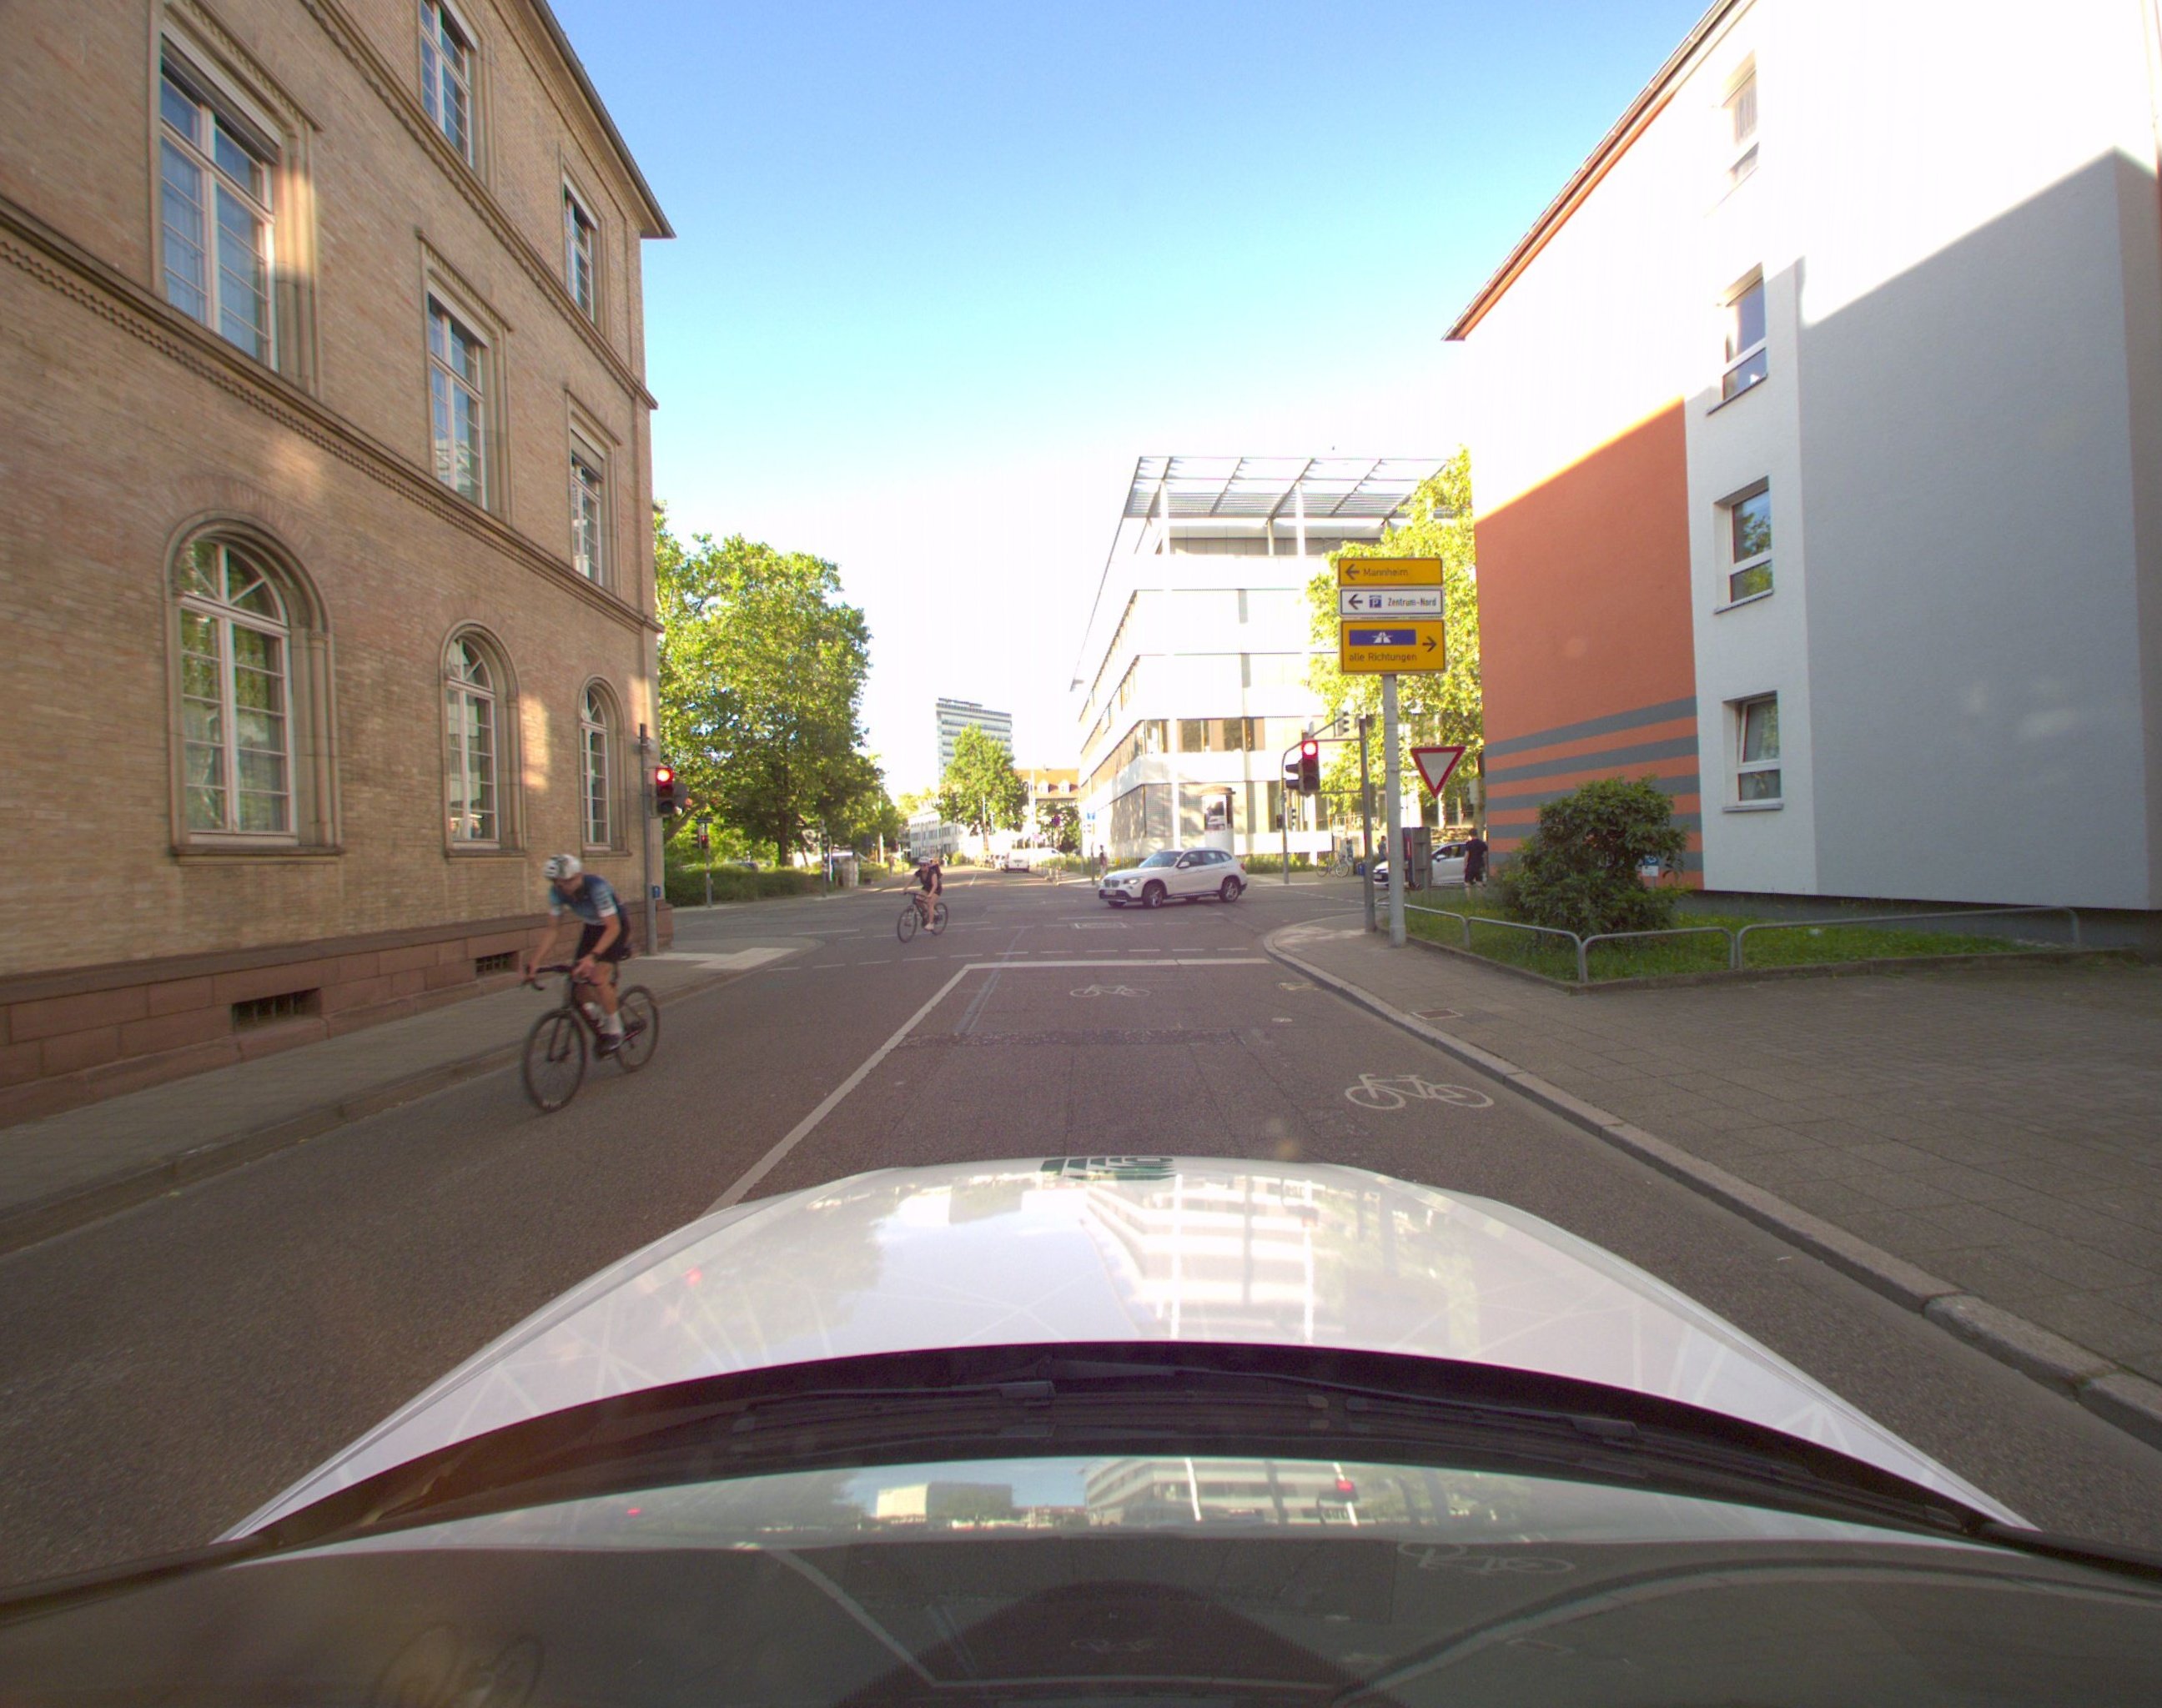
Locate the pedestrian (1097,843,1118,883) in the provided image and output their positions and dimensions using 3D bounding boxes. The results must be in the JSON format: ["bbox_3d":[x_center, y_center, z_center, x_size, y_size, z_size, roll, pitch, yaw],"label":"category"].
[{"bbox_3d":[1.220,0.420,37.572,0.758,1.795,0.651,-1,-1,26],"label":"pedestrian"}]

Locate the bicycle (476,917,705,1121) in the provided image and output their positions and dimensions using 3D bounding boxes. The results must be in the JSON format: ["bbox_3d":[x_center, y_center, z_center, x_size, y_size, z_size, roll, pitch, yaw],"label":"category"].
[{"bbox_3d":[-3.578,1.134,6.153,0.624,1.152,1.783,-2,0,-1],"label":"bicycle"}]

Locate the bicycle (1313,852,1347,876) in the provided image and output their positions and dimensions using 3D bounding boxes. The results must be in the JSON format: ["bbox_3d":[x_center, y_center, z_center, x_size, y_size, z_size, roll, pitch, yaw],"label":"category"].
[{"bbox_3d":[11.005,0.438,36.040,0.381,1.008,1.416,-2,0,-40],"label":"bicycle"}]

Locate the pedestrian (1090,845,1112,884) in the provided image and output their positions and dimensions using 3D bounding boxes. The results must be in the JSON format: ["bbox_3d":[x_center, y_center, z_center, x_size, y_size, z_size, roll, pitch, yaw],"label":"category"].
[{"bbox_3d":[0.905,0.472,36.776,0.758,1.719,0.651,-1,-1,26],"label":"pedestrian"}]

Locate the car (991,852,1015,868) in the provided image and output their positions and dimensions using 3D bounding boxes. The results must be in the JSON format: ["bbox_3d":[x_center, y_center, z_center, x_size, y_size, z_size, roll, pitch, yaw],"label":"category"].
[{"bbox_3d":[-7.843,0.605,81.640,1.994,1.499,4.270,0,-1,-11],"label":"car"}]

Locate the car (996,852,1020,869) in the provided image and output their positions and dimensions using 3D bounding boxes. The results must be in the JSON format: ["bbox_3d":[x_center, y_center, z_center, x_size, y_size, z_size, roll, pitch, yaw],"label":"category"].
[{"bbox_3d":[-6.921,0.628,77.166,1.993,1.499,4.638,0,-1,-8],"label":"car"}]

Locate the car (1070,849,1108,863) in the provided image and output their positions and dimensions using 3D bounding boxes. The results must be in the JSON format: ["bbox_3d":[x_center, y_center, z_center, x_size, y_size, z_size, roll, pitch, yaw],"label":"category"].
[{"bbox_3d":[1.022,0.285,104.969,4.644,1.725,1.990,0,-1,-15],"label":"car"}]

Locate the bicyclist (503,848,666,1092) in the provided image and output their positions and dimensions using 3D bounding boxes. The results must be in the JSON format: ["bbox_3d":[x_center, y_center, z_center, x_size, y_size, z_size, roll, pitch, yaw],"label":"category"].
[{"bbox_3d":[-3.582,0.784,5.940,0.624,1.628,0.826,-2,0,-1],"label":"bicyclist"}]

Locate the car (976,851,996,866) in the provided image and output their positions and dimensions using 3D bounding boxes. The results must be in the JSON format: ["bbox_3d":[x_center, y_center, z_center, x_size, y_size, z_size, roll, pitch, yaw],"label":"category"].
[{"bbox_3d":[-11.301,0.560,96.317,1.995,1.725,4.633,0,-1,-11],"label":"car"}]

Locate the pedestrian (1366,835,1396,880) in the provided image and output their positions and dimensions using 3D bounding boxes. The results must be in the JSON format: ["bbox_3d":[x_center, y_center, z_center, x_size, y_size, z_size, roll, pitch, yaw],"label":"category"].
[{"bbox_3d":[12.433,0.140,33.787,0.913,1.815,0.760,0,-1,-6],"label":"pedestrian"}]

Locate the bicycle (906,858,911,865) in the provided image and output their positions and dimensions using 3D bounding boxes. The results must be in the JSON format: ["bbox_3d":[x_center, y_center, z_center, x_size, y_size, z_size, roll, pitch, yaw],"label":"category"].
[{"bbox_3d":[-28.324,1.167,133.594,0.615,1.152,1.963,-2,0,-10],"label":"bicycle"}]

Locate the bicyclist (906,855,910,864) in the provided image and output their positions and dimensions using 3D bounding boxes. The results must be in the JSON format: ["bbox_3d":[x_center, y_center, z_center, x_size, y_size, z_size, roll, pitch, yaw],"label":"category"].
[{"bbox_3d":[-28.357,0.895,133.658,0.615,1.472,0.738,-2,0,-11],"label":"bicyclist"}]

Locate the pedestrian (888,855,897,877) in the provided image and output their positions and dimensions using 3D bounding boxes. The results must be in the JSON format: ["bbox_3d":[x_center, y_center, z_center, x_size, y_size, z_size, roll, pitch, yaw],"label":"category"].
[{"bbox_3d":[-14.275,0.907,61.716,0.700,1.587,0.633,0,-1,-14],"label":"pedestrian"}]

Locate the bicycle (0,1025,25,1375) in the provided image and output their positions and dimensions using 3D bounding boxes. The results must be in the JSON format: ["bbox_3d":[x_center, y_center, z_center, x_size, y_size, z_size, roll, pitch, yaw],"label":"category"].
[{"bbox_3d":[-3.979,1.177,1.800,0.623,1.152,1.971,-2,0,3],"label":"bicycle"}]

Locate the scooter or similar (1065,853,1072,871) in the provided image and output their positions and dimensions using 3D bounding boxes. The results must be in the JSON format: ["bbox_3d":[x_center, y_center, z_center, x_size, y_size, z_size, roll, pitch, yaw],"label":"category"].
[{"bbox_3d":[-0.914,0.597,58.489,0.436,1.256,1.418,-2,0,-2],"label":"scooter or similar"}]

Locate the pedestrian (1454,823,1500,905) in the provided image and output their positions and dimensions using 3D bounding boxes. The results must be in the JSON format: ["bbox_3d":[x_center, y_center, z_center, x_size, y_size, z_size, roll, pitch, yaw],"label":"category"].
[{"bbox_3d":[9.011,0.218,18.529,0.723,1.810,0.693,0,-1,-39],"label":"pedestrian"}]

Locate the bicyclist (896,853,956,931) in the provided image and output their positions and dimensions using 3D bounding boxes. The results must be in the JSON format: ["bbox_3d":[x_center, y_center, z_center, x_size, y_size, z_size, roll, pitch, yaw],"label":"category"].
[{"bbox_3d":[-2.998,0.723,15.814,0.619,1.446,0.980,-2,0,29],"label":"bicyclist"}]

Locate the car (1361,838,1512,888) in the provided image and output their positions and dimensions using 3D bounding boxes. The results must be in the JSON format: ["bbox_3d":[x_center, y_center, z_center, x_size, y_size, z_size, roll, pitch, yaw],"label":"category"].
[{"bbox_3d":[11.160,0.260,25.674,4.076,1.420,1.713,-2,0,-9],"label":"car"}]

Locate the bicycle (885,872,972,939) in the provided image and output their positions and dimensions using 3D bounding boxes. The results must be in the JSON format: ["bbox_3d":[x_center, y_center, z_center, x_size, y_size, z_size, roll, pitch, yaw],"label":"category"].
[{"bbox_3d":[-2.947,0.973,15.879,0.619,1.152,1.795,-2,0,29],"label":"bicycle"}]

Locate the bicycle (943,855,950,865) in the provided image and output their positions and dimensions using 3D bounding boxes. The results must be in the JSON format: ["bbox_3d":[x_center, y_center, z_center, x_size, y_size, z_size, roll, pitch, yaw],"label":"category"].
[{"bbox_3d":[-15.807,0.739,95.573,0.589,1.152,1.967,-2,0,-3],"label":"bicycle"}]

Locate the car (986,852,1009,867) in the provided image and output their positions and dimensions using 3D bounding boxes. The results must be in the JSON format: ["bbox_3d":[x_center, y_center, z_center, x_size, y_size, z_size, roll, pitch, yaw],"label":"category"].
[{"bbox_3d":[-8.885,0.612,86.393,1.994,1.499,4.635,0,-1,-10],"label":"car"}]

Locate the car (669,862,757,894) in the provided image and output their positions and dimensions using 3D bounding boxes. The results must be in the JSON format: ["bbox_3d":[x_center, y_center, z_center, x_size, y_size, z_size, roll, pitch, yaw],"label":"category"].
[{"bbox_3d":[-17.084,1.098,37.916,3.407,1.457,1.646,0,-1,-8],"label":"car"}]

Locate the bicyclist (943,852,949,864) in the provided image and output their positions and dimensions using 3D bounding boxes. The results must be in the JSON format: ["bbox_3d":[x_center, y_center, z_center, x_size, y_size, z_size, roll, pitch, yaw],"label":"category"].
[{"bbox_3d":[-15.817,0.459,95.422,0.589,1.396,0.746,-2,0,-4],"label":"bicyclist"}]

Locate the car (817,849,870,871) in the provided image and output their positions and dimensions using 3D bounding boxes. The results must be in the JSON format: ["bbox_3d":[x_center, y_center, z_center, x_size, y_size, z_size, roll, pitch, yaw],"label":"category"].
[{"bbox_3d":[-22.025,0.543,75.782,4.441,2.014,1.995,0,-1,-8],"label":"car"}]

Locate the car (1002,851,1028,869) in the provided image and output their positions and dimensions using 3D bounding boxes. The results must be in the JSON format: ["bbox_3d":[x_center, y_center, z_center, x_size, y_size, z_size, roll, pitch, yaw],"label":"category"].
[{"bbox_3d":[-5.848,0.497,71.366,1.993,1.499,4.638,0,-1,-8],"label":"car"}]

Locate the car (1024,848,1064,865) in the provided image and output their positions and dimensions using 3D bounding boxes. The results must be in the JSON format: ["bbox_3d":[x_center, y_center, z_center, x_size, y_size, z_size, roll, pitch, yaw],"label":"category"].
[{"bbox_3d":[-4.683,0.300,103.263,4.802,2.159,1.989,0,-1,-16],"label":"car"}]

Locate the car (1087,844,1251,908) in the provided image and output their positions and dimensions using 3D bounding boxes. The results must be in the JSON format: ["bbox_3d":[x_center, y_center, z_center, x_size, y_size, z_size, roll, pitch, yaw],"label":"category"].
[{"bbox_3d":[2.451,0.544,22.270,4.387,1.514,1.700,-2,0,-34],"label":"car"}]

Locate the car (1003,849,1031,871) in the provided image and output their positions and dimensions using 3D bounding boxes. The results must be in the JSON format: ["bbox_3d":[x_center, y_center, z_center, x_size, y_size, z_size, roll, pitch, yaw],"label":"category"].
[{"bbox_3d":[-5.173,0.484,65.132,1.992,1.725,4.640,0,-1,-7],"label":"car"}]
